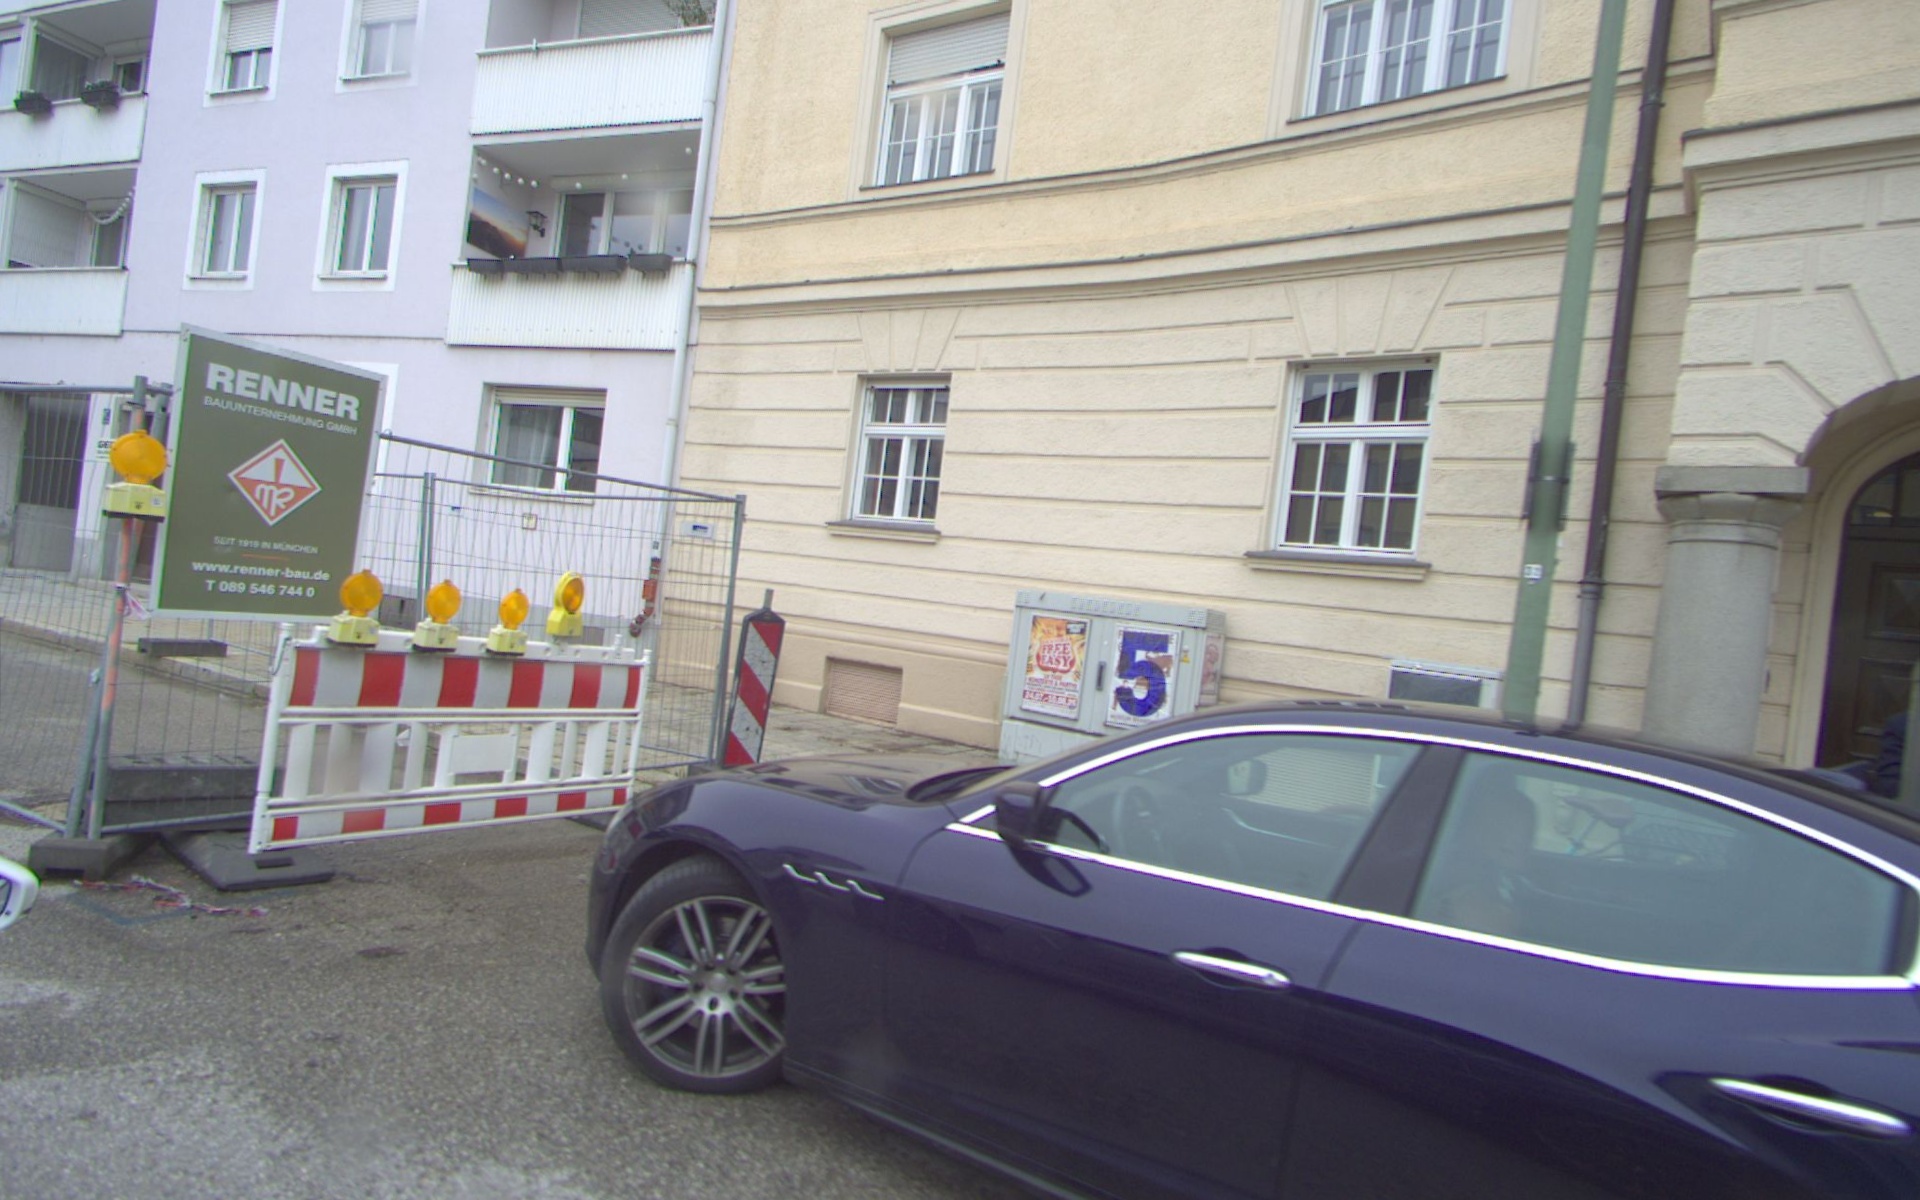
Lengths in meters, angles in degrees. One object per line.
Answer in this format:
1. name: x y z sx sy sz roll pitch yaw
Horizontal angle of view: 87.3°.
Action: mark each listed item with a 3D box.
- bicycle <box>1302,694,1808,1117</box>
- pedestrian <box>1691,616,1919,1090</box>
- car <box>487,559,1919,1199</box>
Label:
1. bicycle: 2.473 1.168 4.340 1.645 1.273 0.637 7 0 37
2. pedestrian: 3.666 0.970 4.119 0.905 1.713 0.616 7 3 38
3. car: 1.025 0.972 2.907 4.865 1.495 1.911 8 -1 33
